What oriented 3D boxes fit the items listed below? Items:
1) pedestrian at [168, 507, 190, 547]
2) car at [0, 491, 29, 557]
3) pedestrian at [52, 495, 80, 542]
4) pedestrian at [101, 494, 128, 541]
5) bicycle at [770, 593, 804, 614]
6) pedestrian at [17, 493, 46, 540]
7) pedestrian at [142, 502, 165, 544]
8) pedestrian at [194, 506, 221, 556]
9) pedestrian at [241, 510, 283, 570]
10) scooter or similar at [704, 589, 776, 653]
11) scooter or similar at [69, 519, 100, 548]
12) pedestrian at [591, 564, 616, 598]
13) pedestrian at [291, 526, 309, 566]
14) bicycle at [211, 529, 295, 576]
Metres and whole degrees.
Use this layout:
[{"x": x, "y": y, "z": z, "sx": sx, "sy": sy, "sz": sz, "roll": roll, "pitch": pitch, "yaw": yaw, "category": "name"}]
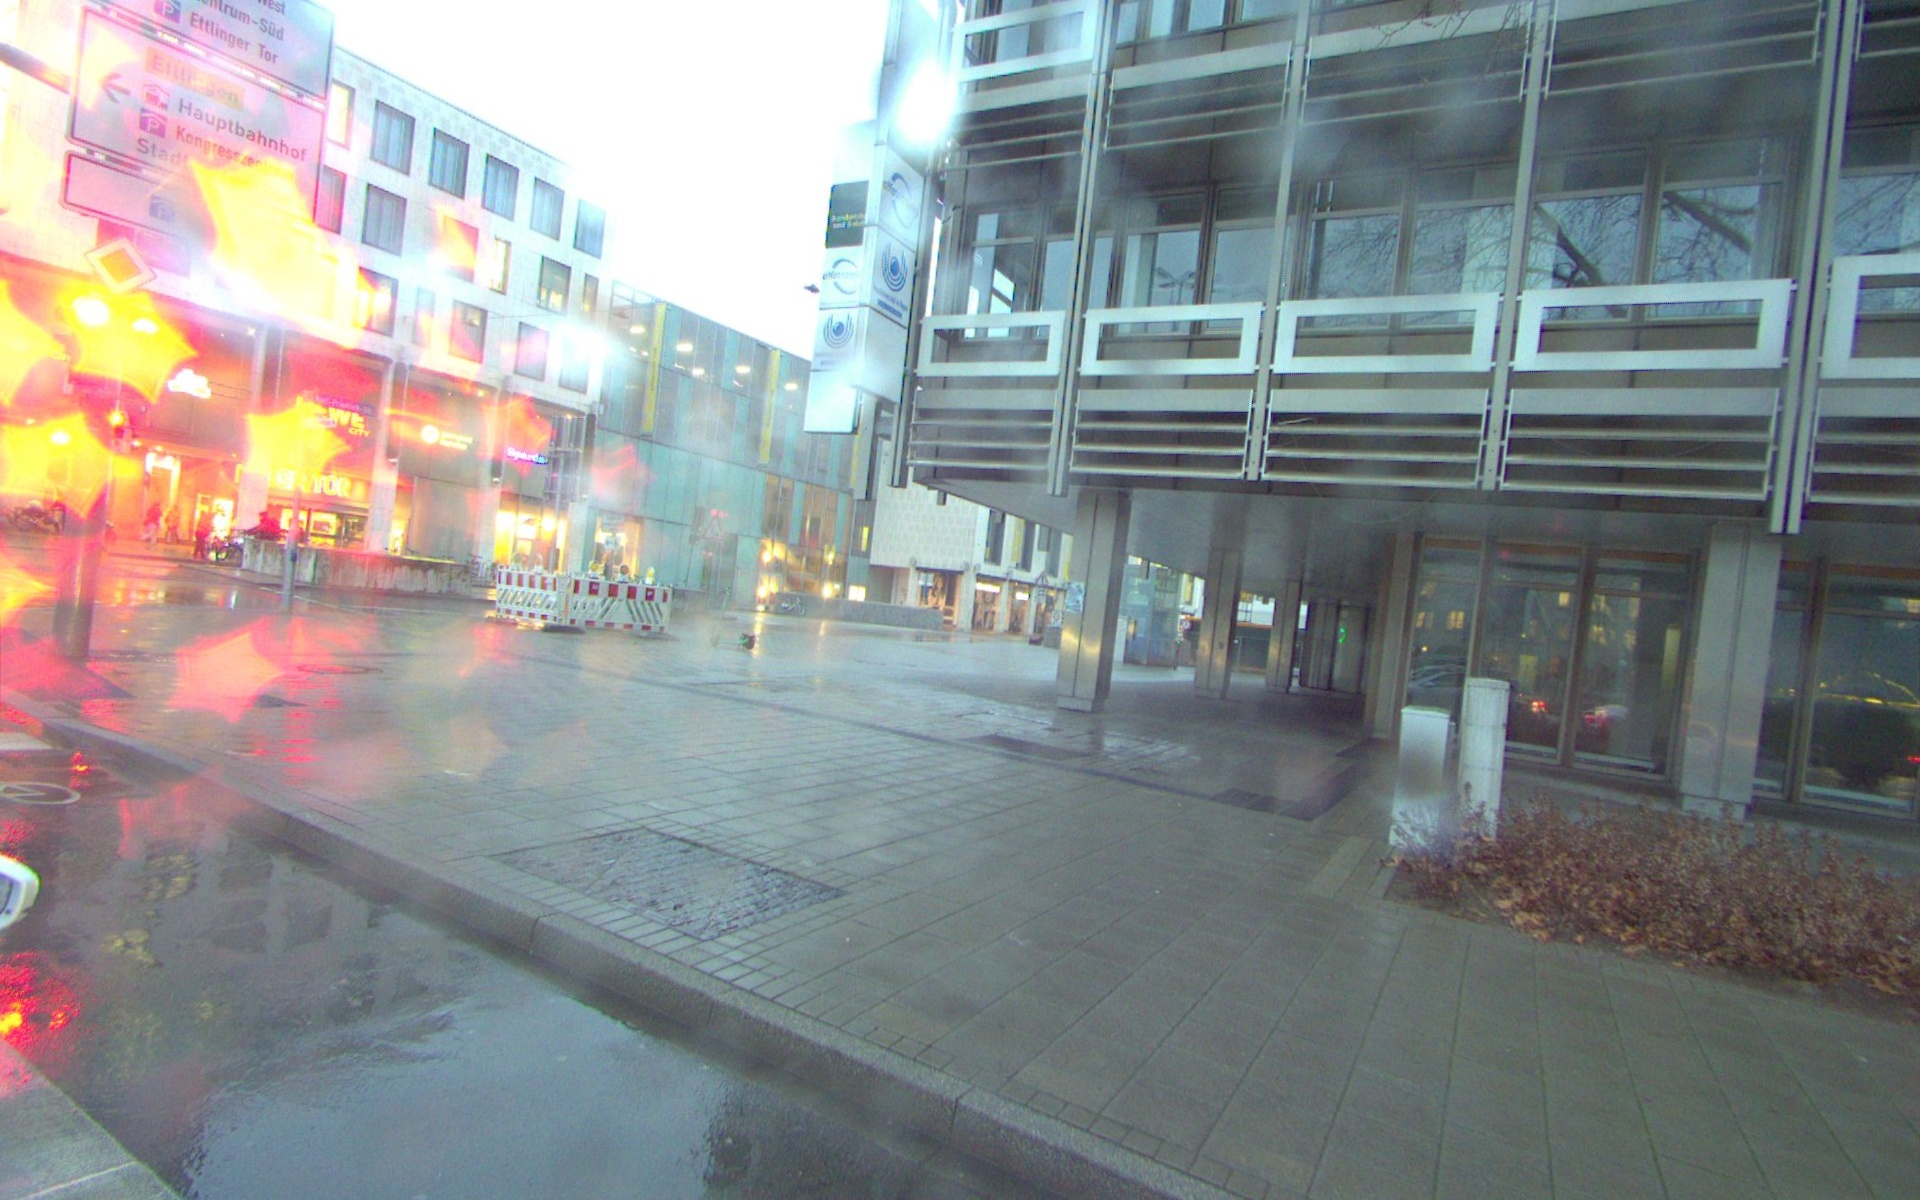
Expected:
[{"x": -36.030, "y": -3.362, "z": 46.412, "sx": 0.529, "sy": 1.739, "sz": 0.500, "roll": 6, "pitch": 1, "yaw": -21, "category": "pedestrian"}, {"x": -25.223, "y": -2.071, "z": 24.329, "sx": 1.648, "sy": 1.601, "sz": 3.575, "roll": 6, "pitch": -1, "yaw": 29, "category": "car"}, {"x": -35.086, "y": -3.200, "z": 39.481, "sx": 0.529, "sy": 1.739, "sz": 0.500, "roll": 6, "pitch": 1, "yaw": -21, "category": "pedestrian"}, {"x": -33.218, "y": -3.233, "z": 39.518, "sx": 0.529, "sy": 1.739, "sz": 0.500, "roll": 6, "pitch": 1, "yaw": -21, "category": "pedestrian"}, {"x": -10.616, "y": 0.191, "z": 61.806, "sx": 2.101, "sy": 1.046, "sz": 0.616, "roll": 6, "pitch": 0, "yaw": 33, "category": "bicycle"}, {"x": -35.616, "y": -3.193, "z": 38.586, "sx": 0.529, "sy": 1.739, "sz": 0.500, "roll": 6, "pitch": 1, "yaw": -21, "category": "pedestrian"}, {"x": -35.377, "y": -3.365, "z": 44.127, "sx": 0.529, "sy": 1.739, "sz": 0.500, "roll": 6, "pitch": 1, "yaw": -21, "category": "pedestrian"}, {"x": -27.275, "y": -2.490, "z": 36.458, "sx": 0.529, "sy": 1.706, "sz": 0.546, "roll": 6, "pitch": 1, "yaw": -21, "category": "pedestrian"}, {"x": -20.149, "y": -1.734, "z": 29.035, "sx": 0.778, "sy": 1.615, "sz": 0.605, "roll": 6, "pitch": 1, "yaw": -43, "category": "pedestrian"}, {"x": -4.429, "y": 0.423, "z": 20.244, "sx": 1.215, "sy": 1.144, "sz": 0.606, "roll": 7, "pitch": 0, "yaw": 32, "category": "scooter or similar"}, {"x": -33.740, "y": -2.567, "z": 38.779, "sx": 0.394, "sy": 1.005, "sz": 0.741, "roll": 7, "pitch": 0, "yaw": 33, "category": "scooter or similar"}, {"x": -18.335, "y": -0.969, "z": 51.764, "sx": 0.697, "sy": 1.650, "sz": 0.795, "roll": 6, "pitch": -1, "yaw": 31, "category": "pedestrian"}, {"x": -30.449, "y": -2.513, "z": 46.435, "sx": 0.509, "sy": 1.782, "sz": 0.370, "roll": 6, "pitch": 1, "yaw": -39, "category": "pedestrian"}, {"x": -20.315, "y": -1.356, "z": 28.938, "sx": 1.839, "sy": 1.107, "sz": 0.610, "roll": 7, "pitch": 0, "yaw": -44, "category": "bicycle"}]
